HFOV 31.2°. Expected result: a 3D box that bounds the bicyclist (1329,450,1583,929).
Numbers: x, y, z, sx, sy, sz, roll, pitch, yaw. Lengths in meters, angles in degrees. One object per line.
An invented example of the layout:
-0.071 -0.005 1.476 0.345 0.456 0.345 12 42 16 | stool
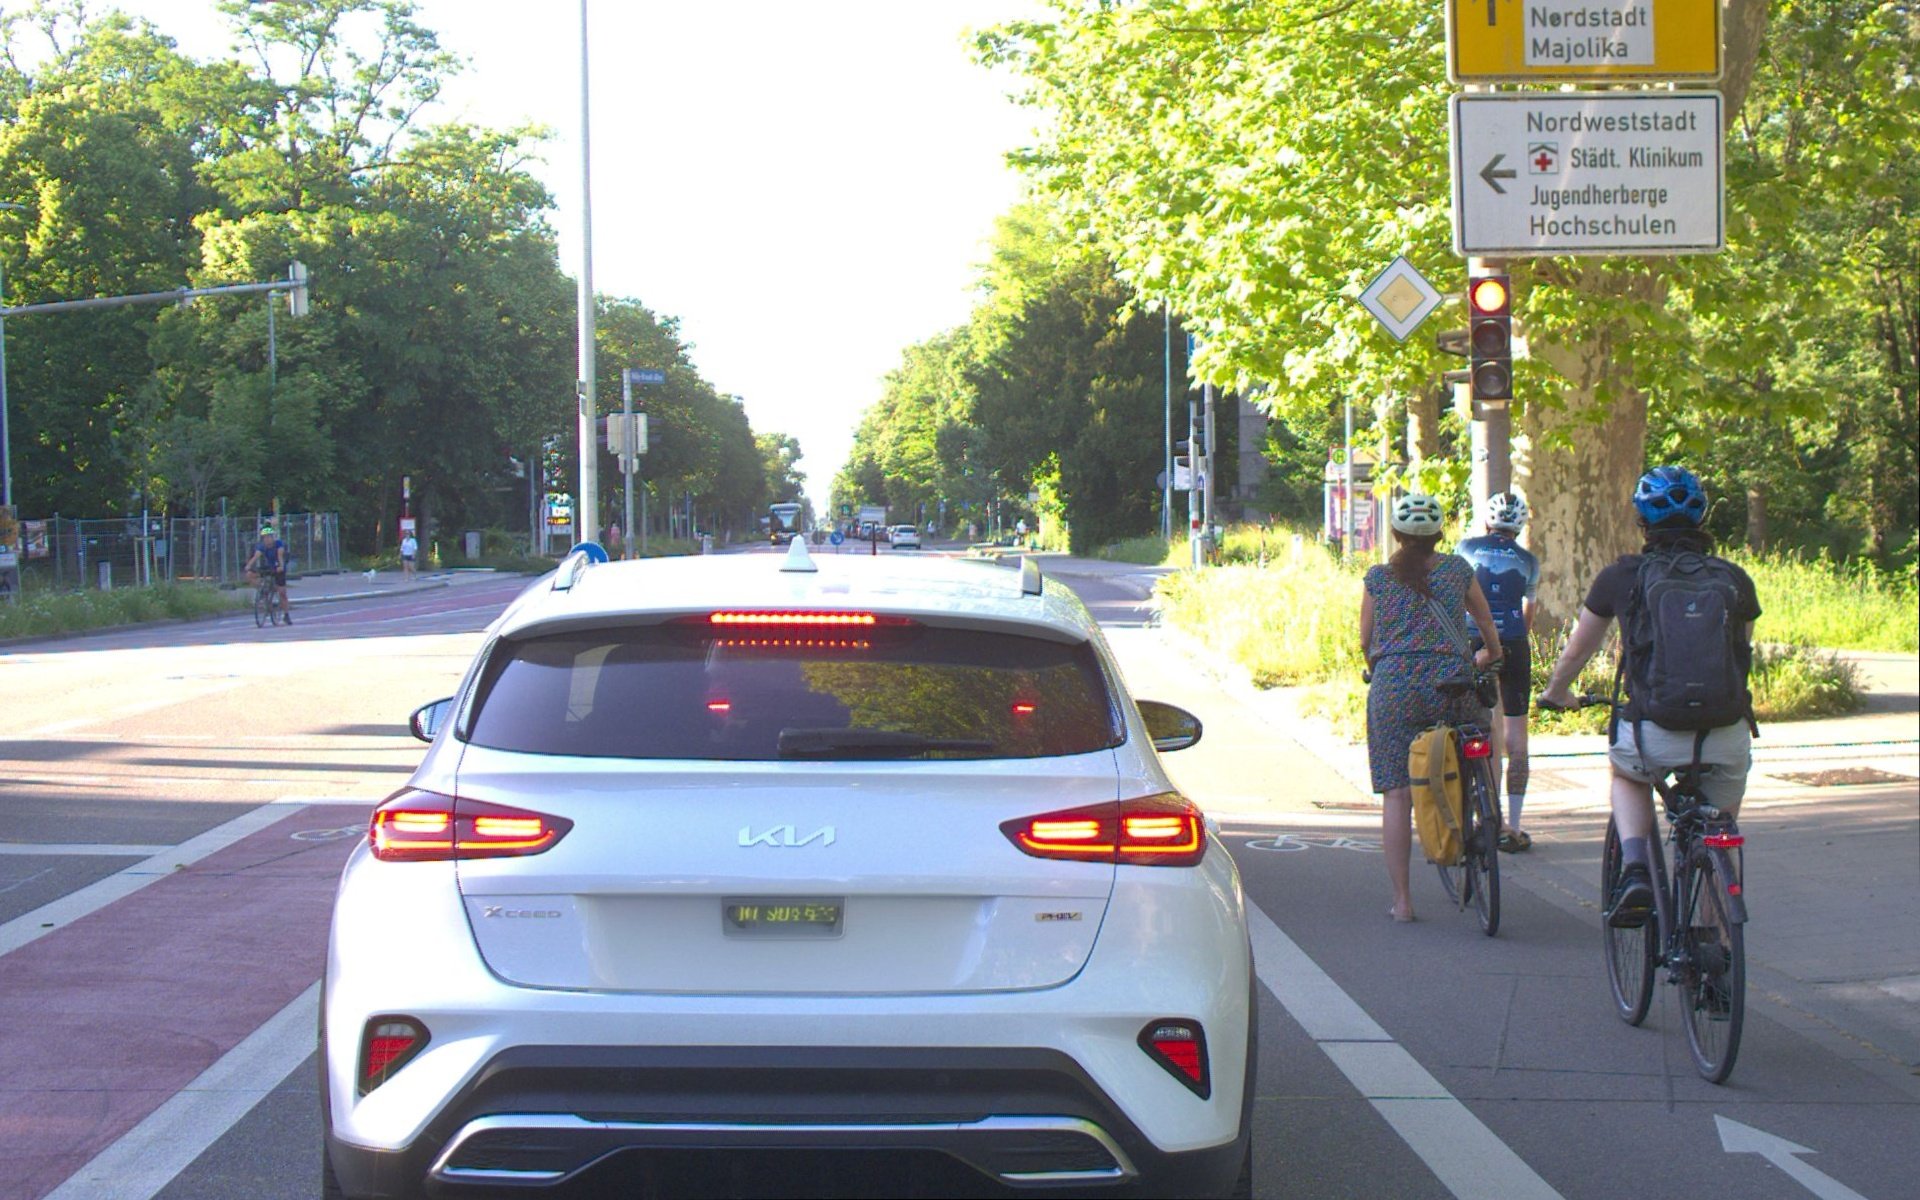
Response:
1.928 0.326 13.515 0.753 1.789 1.165 1 1 -2 | bicyclist

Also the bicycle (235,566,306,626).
-12.176 -0.075 60.803 0.663 0.985 2.504 -1 1 2 | bicycle

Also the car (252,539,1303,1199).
-0.379 0.613 7.945 1.821 1.475 3.937 0 1 -2 | car

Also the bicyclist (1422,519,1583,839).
2.602 0.367 16.542 0.554 1.473 0.717 -4 1 -2 | bicyclist

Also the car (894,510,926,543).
-3.168 -4.660 217.970 1.993 2.007 4.000 -2 1 -1 | car

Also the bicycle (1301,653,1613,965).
1.915 0.773 13.654 0.758 1.009 2.570 1 1 -2 | bicycle

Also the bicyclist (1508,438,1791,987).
2.069 0.321 10.385 0.665 1.596 0.721 1 1 -2 | bicyclist

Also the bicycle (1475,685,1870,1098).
2.069 0.809 10.275 0.668 1.006 2.081 1 1 -2 | bicycle

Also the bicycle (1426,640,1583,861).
2.605 0.702 16.563 0.401 0.953 1.551 -4 1 -2 | bicycle

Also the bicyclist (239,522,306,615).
-12.183 -0.570 60.933 0.875 1.603 1.188 -1 1 1 | bicyclist

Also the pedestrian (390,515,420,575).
-16.638 -1.656 103.048 0.785 1.779 0.751 0 1 0 | pedestrian

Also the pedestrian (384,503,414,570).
-17.077 -1.930 104.647 0.642 2.007 0.753 0 1 14 | pedestrian

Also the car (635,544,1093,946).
-0.434 0.529 14.977 1.728 1.478 3.517 -1 1 -2 | car
